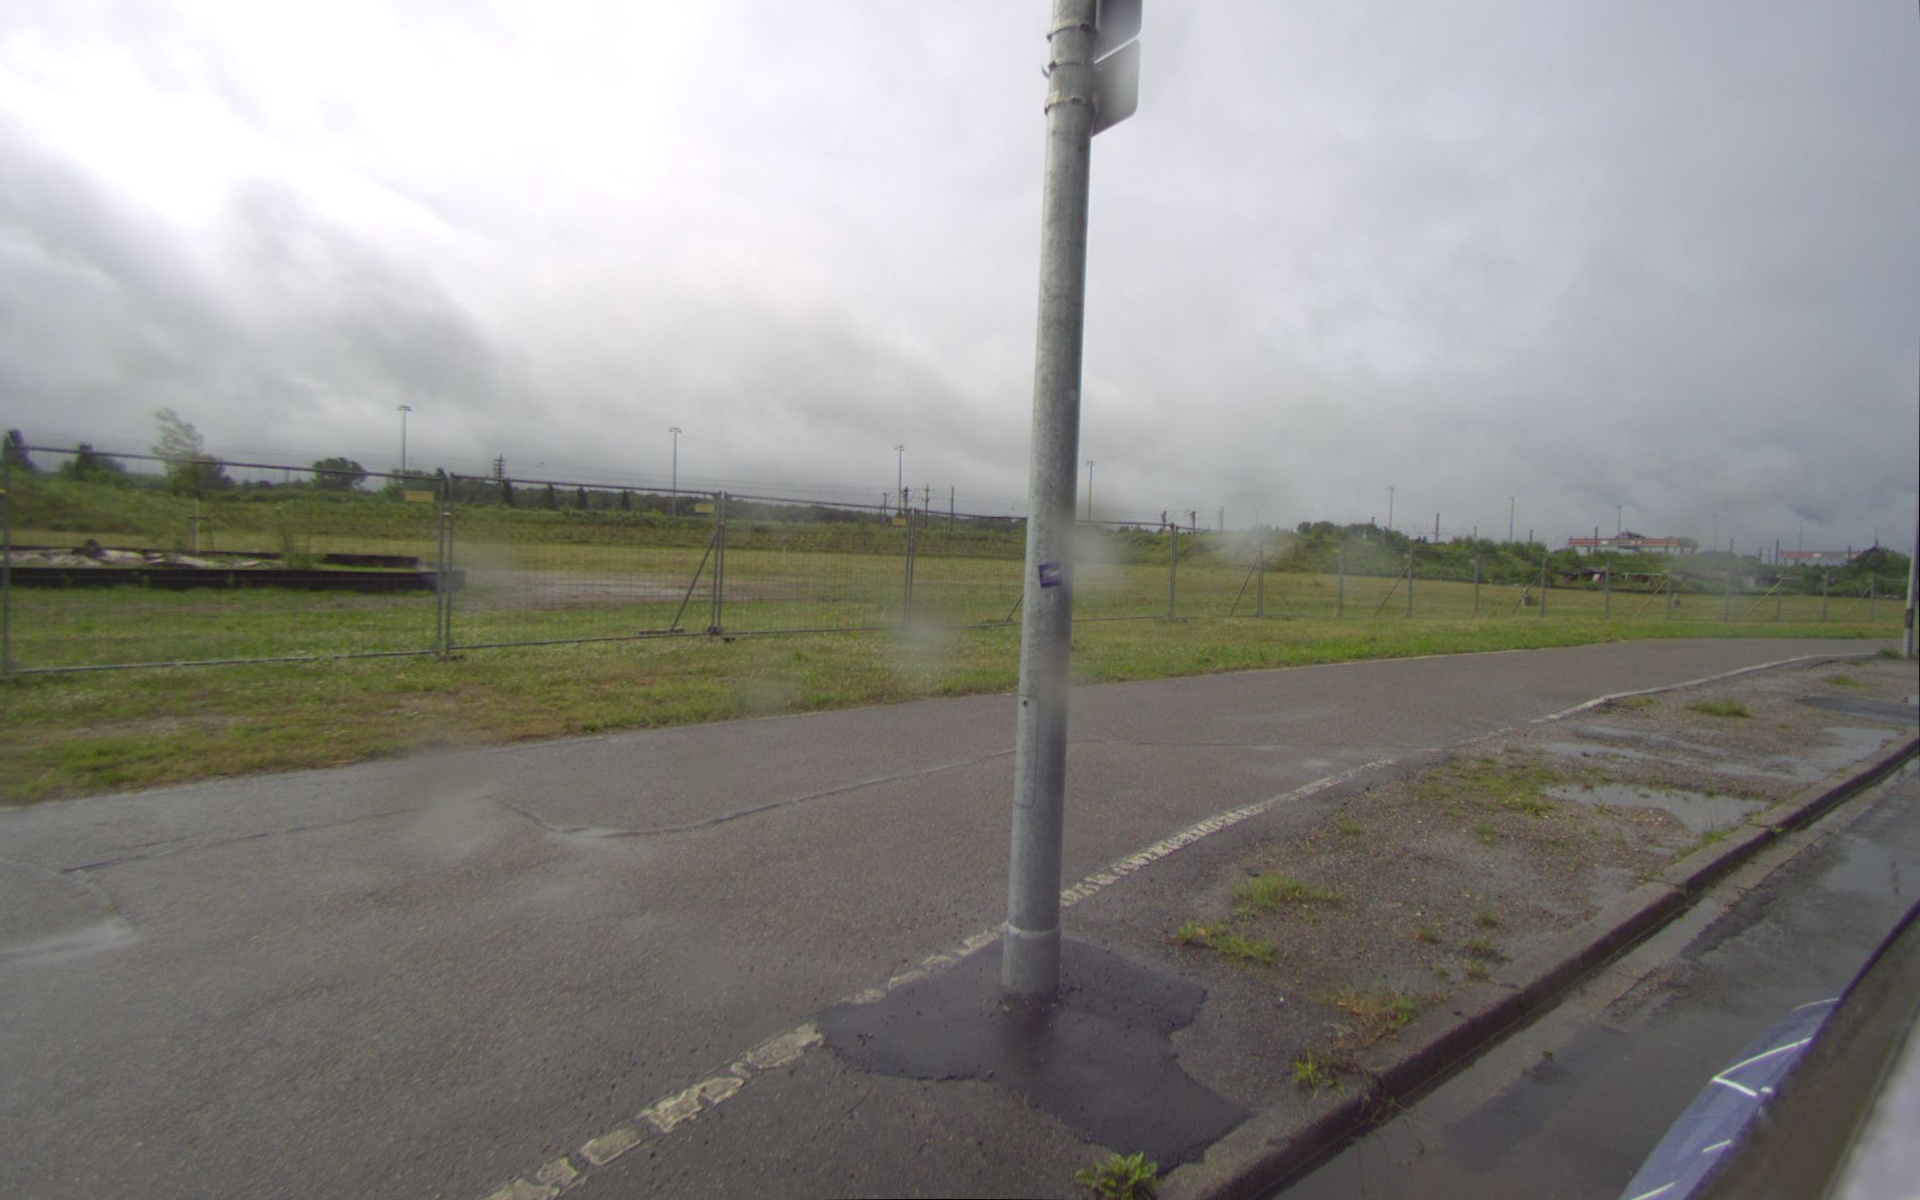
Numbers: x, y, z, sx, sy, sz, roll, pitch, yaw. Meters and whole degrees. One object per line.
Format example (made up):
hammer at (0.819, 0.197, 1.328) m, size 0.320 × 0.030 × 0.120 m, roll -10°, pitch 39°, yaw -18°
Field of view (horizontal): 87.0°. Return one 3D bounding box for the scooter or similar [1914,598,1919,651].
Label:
scooter or similar at (22.745, 0.583, 23.305) m, size 1.312 × 1.229 × 0.494 m, roll 1°, pitch 2°, yaw -18°
